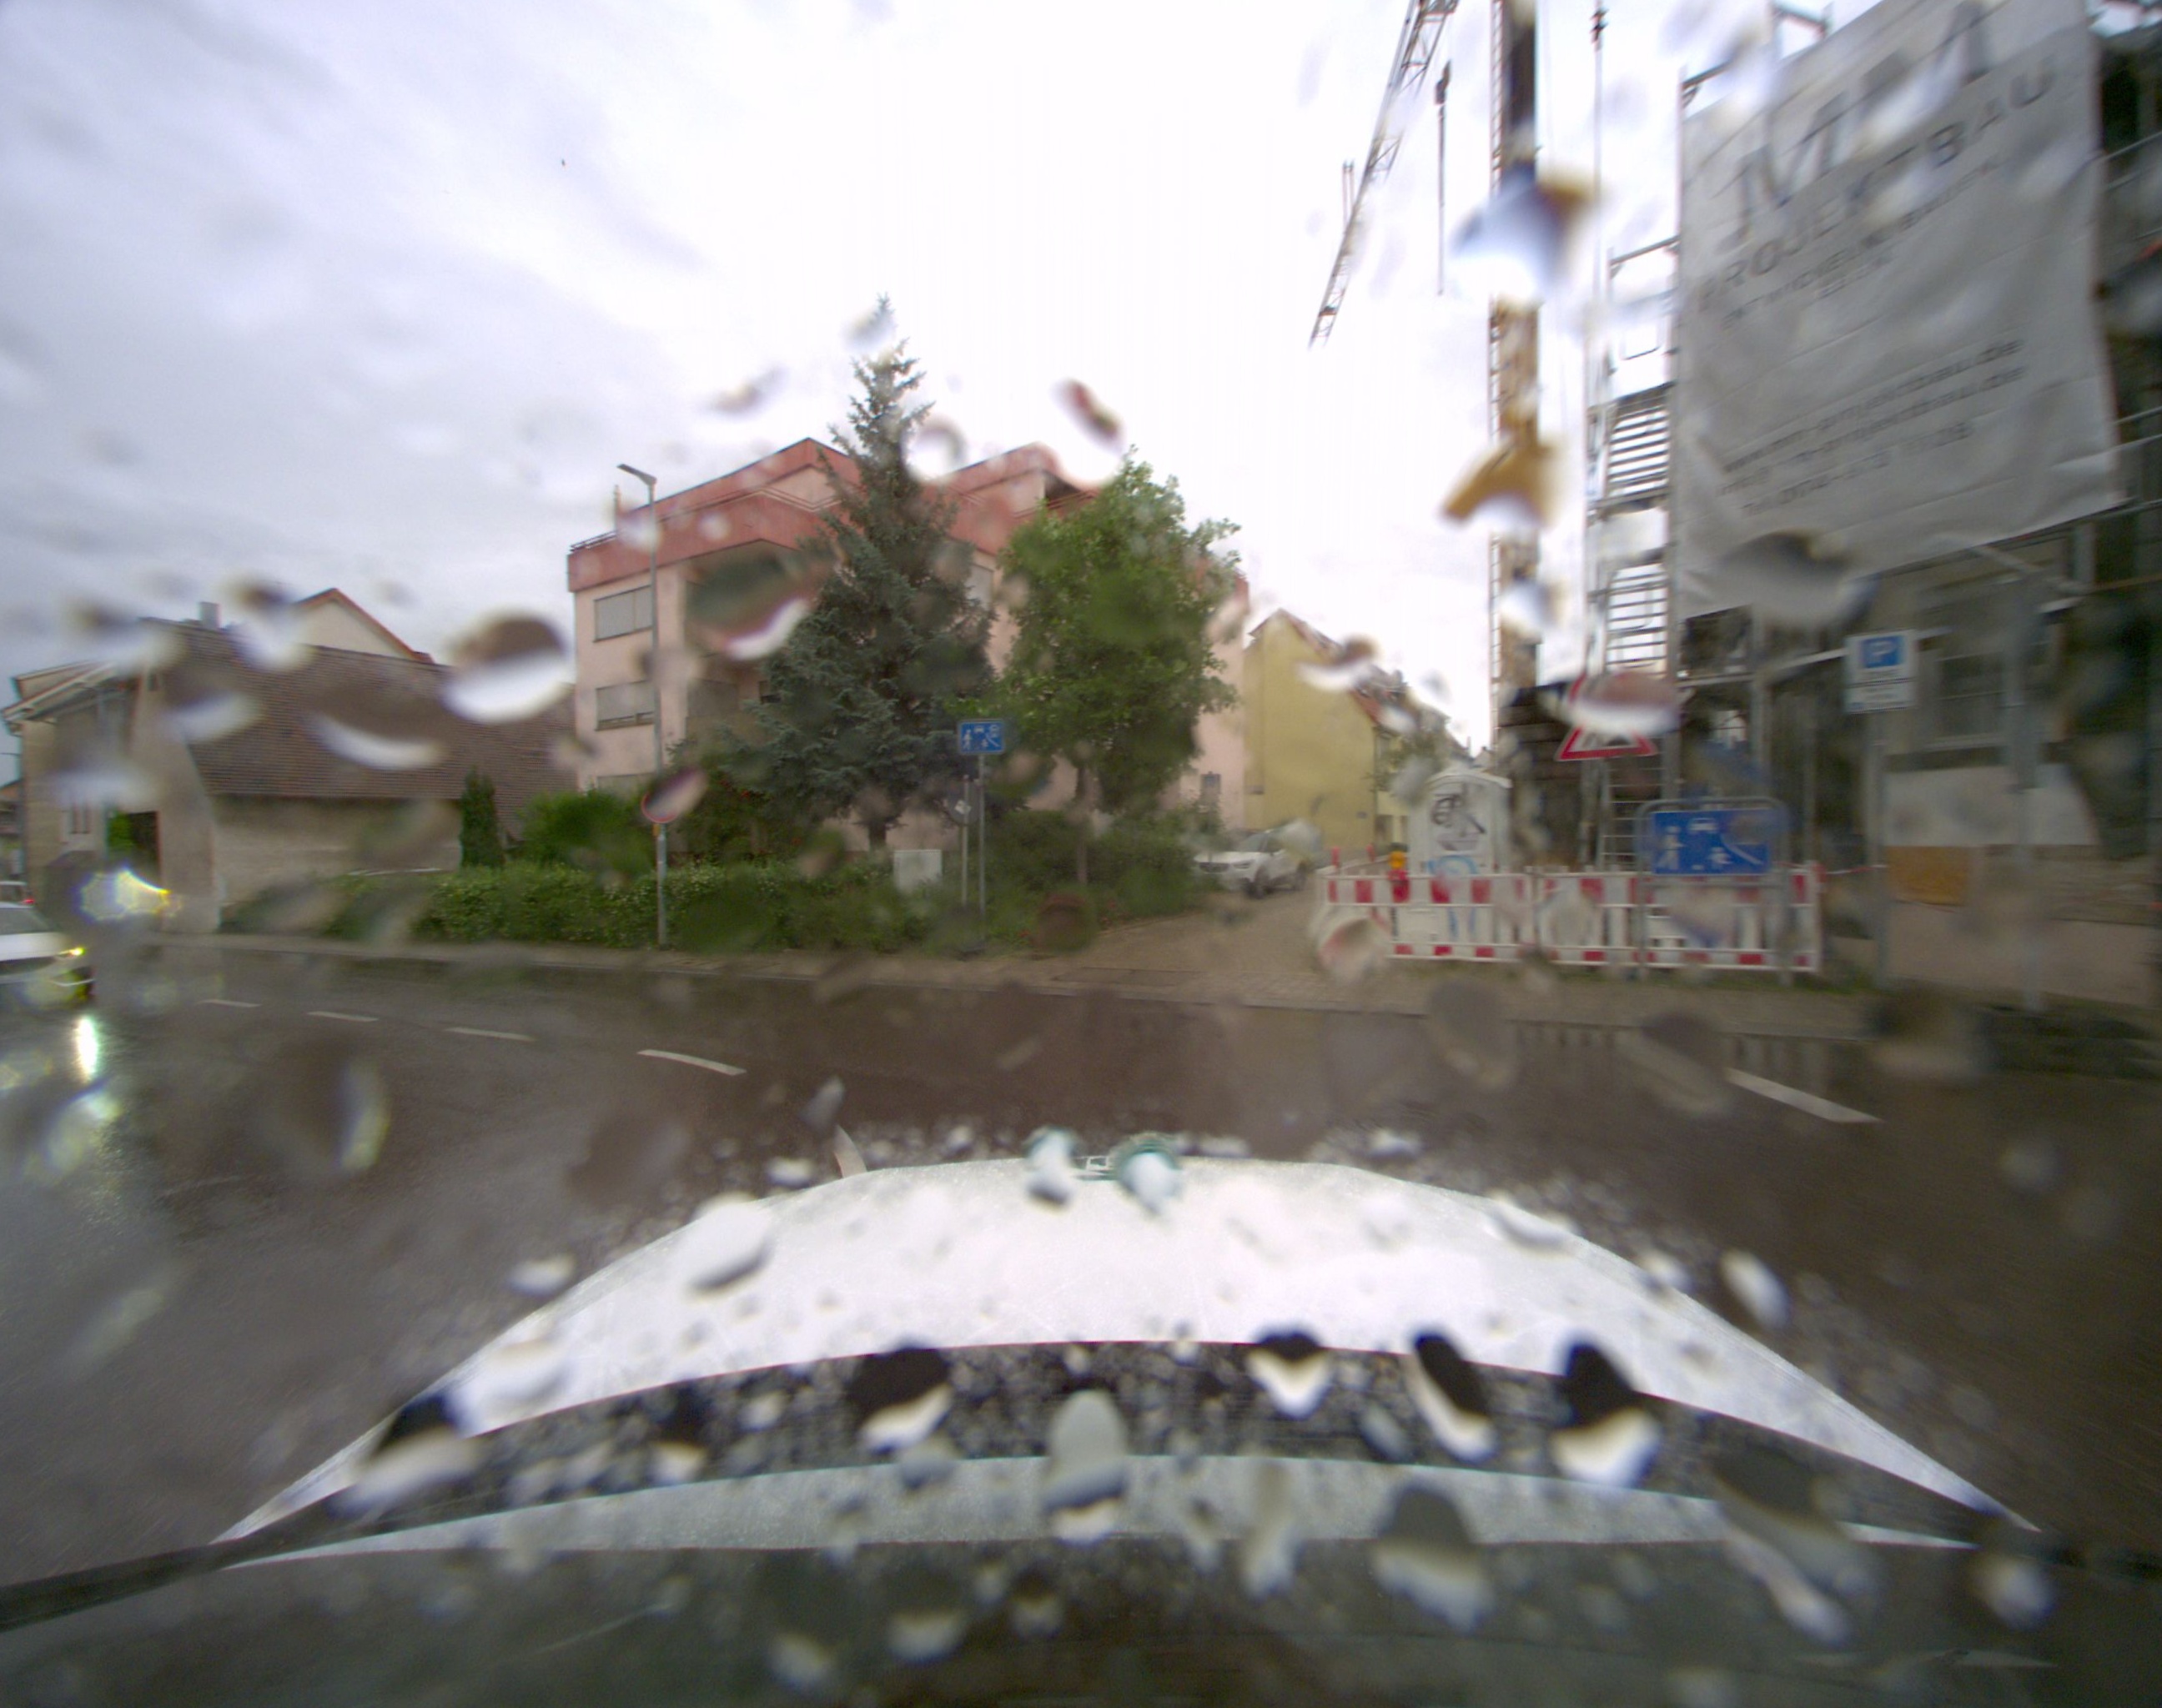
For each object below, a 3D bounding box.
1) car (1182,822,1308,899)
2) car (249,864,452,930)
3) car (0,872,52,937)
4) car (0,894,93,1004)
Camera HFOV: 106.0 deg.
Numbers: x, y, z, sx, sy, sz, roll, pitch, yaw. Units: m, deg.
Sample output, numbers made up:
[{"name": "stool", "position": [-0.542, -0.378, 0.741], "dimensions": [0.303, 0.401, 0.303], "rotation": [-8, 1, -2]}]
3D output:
[{"name": "car", "position": [4.141, 0.070, 20.084], "dimensions": [1.584, 1.677, 3.964], "rotation": [1, 3, 35]}, {"name": "car", "position": [-22.422, 1.246, 25.191], "dimensions": [1.878, 1.649, 4.258], "rotation": [-2, 1, 31]}, {"name": "car", "position": [-33.404, 1.569, 24.573], "dimensions": [4.249, 1.851, 2.216], "rotation": [-2, 1, 30]}, {"name": "car", "position": [-16.416, 1.394, 11.873], "dimensions": [4.156, 1.408, 1.602], "rotation": [-2, 2, 27]}]
